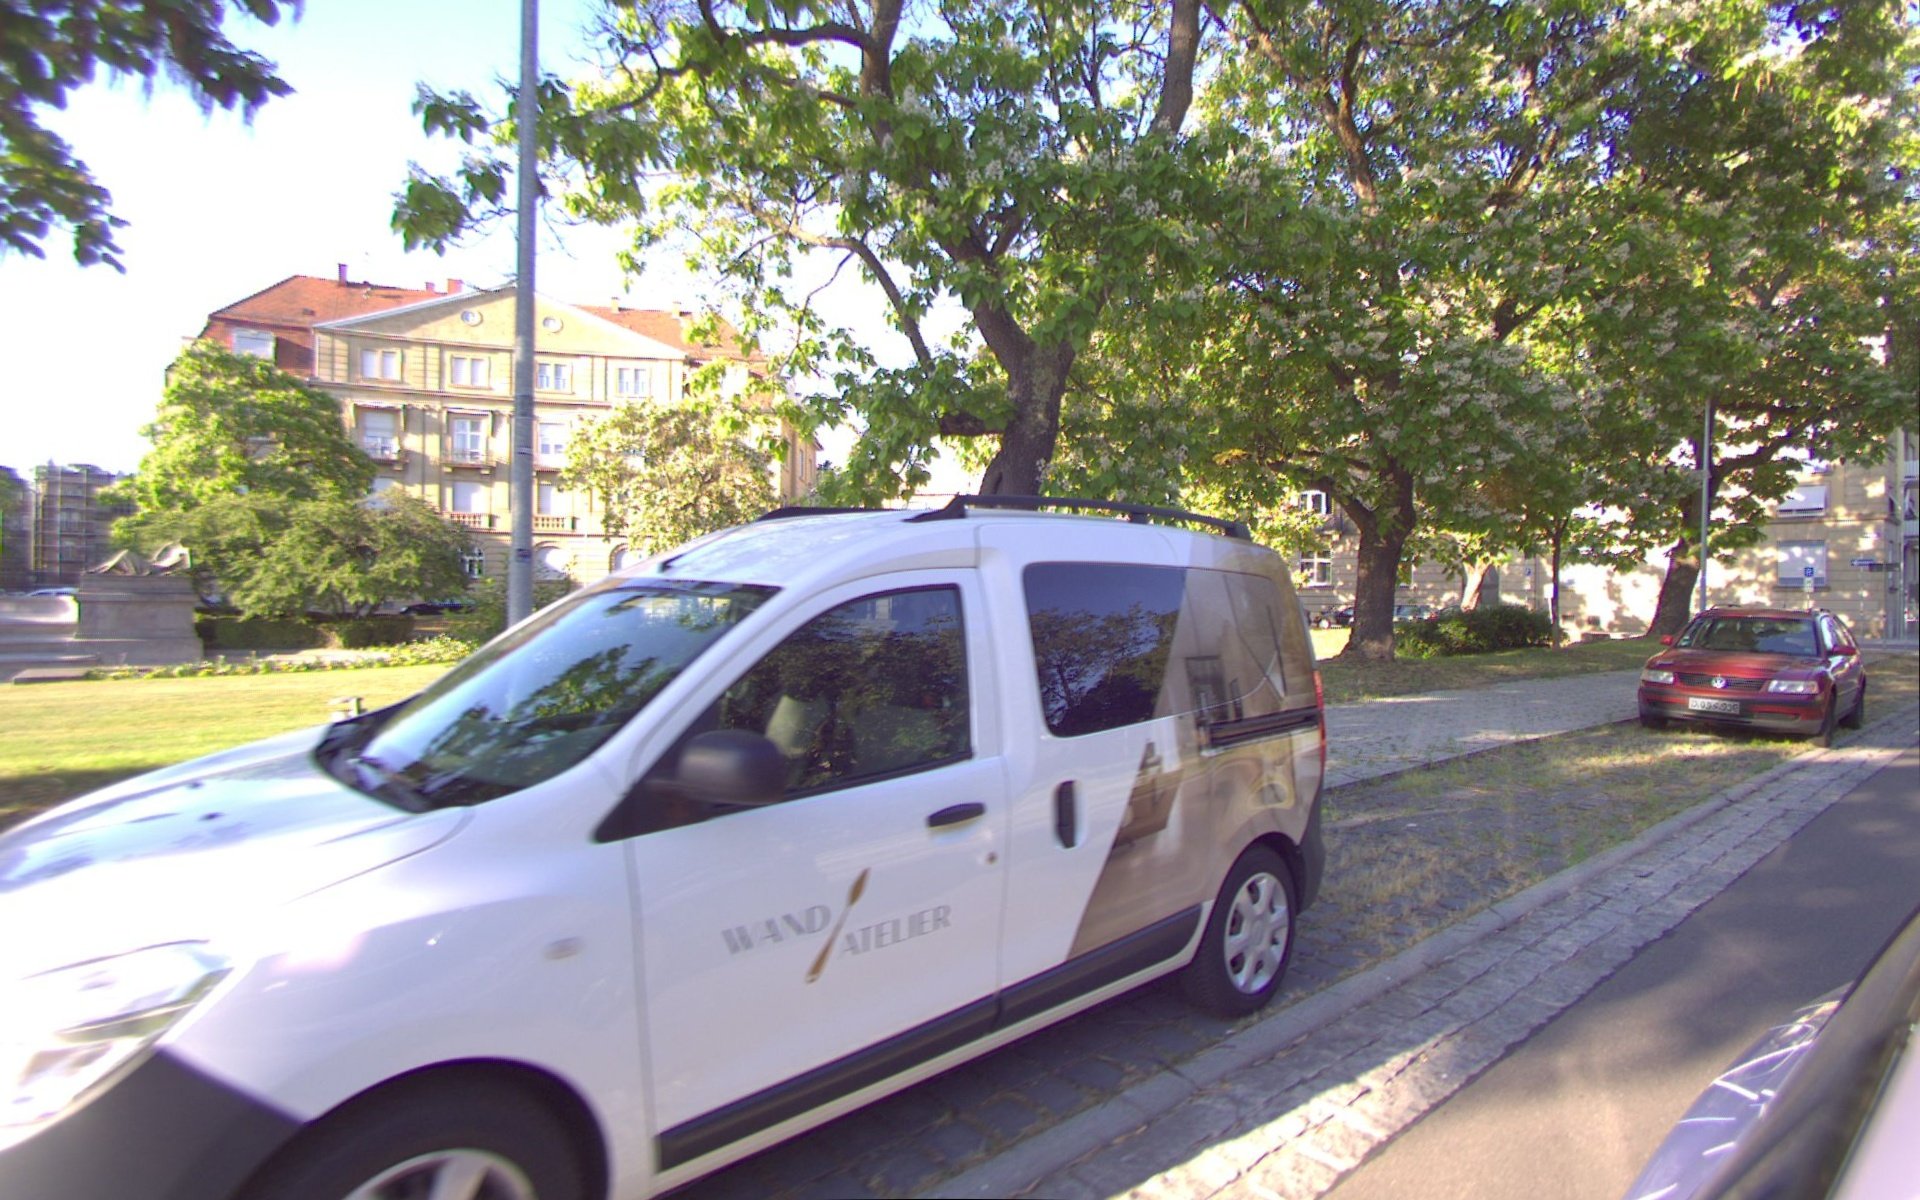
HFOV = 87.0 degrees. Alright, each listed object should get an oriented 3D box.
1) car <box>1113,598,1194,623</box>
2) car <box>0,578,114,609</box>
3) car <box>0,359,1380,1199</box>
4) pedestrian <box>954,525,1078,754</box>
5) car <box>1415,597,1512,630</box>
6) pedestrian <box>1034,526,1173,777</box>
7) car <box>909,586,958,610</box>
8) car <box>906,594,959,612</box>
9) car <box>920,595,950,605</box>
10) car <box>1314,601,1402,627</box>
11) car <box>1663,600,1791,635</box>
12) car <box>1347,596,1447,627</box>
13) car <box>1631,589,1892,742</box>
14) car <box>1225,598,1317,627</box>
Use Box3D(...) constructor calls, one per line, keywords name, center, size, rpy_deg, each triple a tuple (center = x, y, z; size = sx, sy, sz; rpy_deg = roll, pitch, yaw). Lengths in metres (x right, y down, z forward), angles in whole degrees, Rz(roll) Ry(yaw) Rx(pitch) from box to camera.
Box3D(name="car", center=(11.664, 0.619, 60.985), size=(4.589, 1.435, 1.809), rpy_deg=(0, 0, 19))
Box3D(name="car", center=(-43.615, -0.320, 48.211), size=(4.854, 1.435, 1.820), rpy_deg=(0, 1, -34))
Box3D(name="car", center=(-0.512, 0.530, 3.250), size=(4.436, 1.762, 1.681), rpy_deg=(0, 1, -42))
Box3D(name="pedestrian", center=(0.457, 0.306, 8.296), size=(0.718, 1.758, 0.726), rpy_deg=(1, -2, -40))
Box3D(name="car", center=(26.395, 0.669, 53.117), size=(4.419, 1.620, 1.782), rpy_deg=(1, 1, 32))
Box3D(name="pedestrian", center=(1.075, 0.362, 7.617), size=(0.718, 1.758, 0.754), rpy_deg=(1, -2, -40))
Box3D(name="car", center=(-2.407, -0.160, 91.116), size=(4.285, 2.134, 1.821), rpy_deg=(0, 0, -3))
Box3D(name="car", center=(-2.355, 0.265, 84.829), size=(4.283, 1.435, 1.822), rpy_deg=(0, 0, -6))
Box3D(name="car", center=(-3.561, 0.029, 146.389), size=(4.288, 1.435, 1.820), rpy_deg=(0, 0, 0))
Box3D(name="car", center=(21.998, 0.735, 55.934), size=(4.412, 1.341, 1.491), rpy_deg=(1, 1, 28))
Box3D(name="car", center=(34.762, 0.760, 45.950), size=(4.440, 1.436, 1.905), rpy_deg=(1, 1, 45))
Box3D(name="car", center=(21.350, 0.543, 49.488), size=(4.329, 1.435, 1.826), rpy_deg=(1, 1, 30))
Box3D(name="car", center=(9.822, 0.632, 12.245), size=(4.726, 1.505, 1.681), rpy_deg=(0, 1, -42))
Box3D(name="car", center=(16.075, 0.613, 52.368), size=(4.394, 1.435, 1.552), rpy_deg=(1, 0, 27))
